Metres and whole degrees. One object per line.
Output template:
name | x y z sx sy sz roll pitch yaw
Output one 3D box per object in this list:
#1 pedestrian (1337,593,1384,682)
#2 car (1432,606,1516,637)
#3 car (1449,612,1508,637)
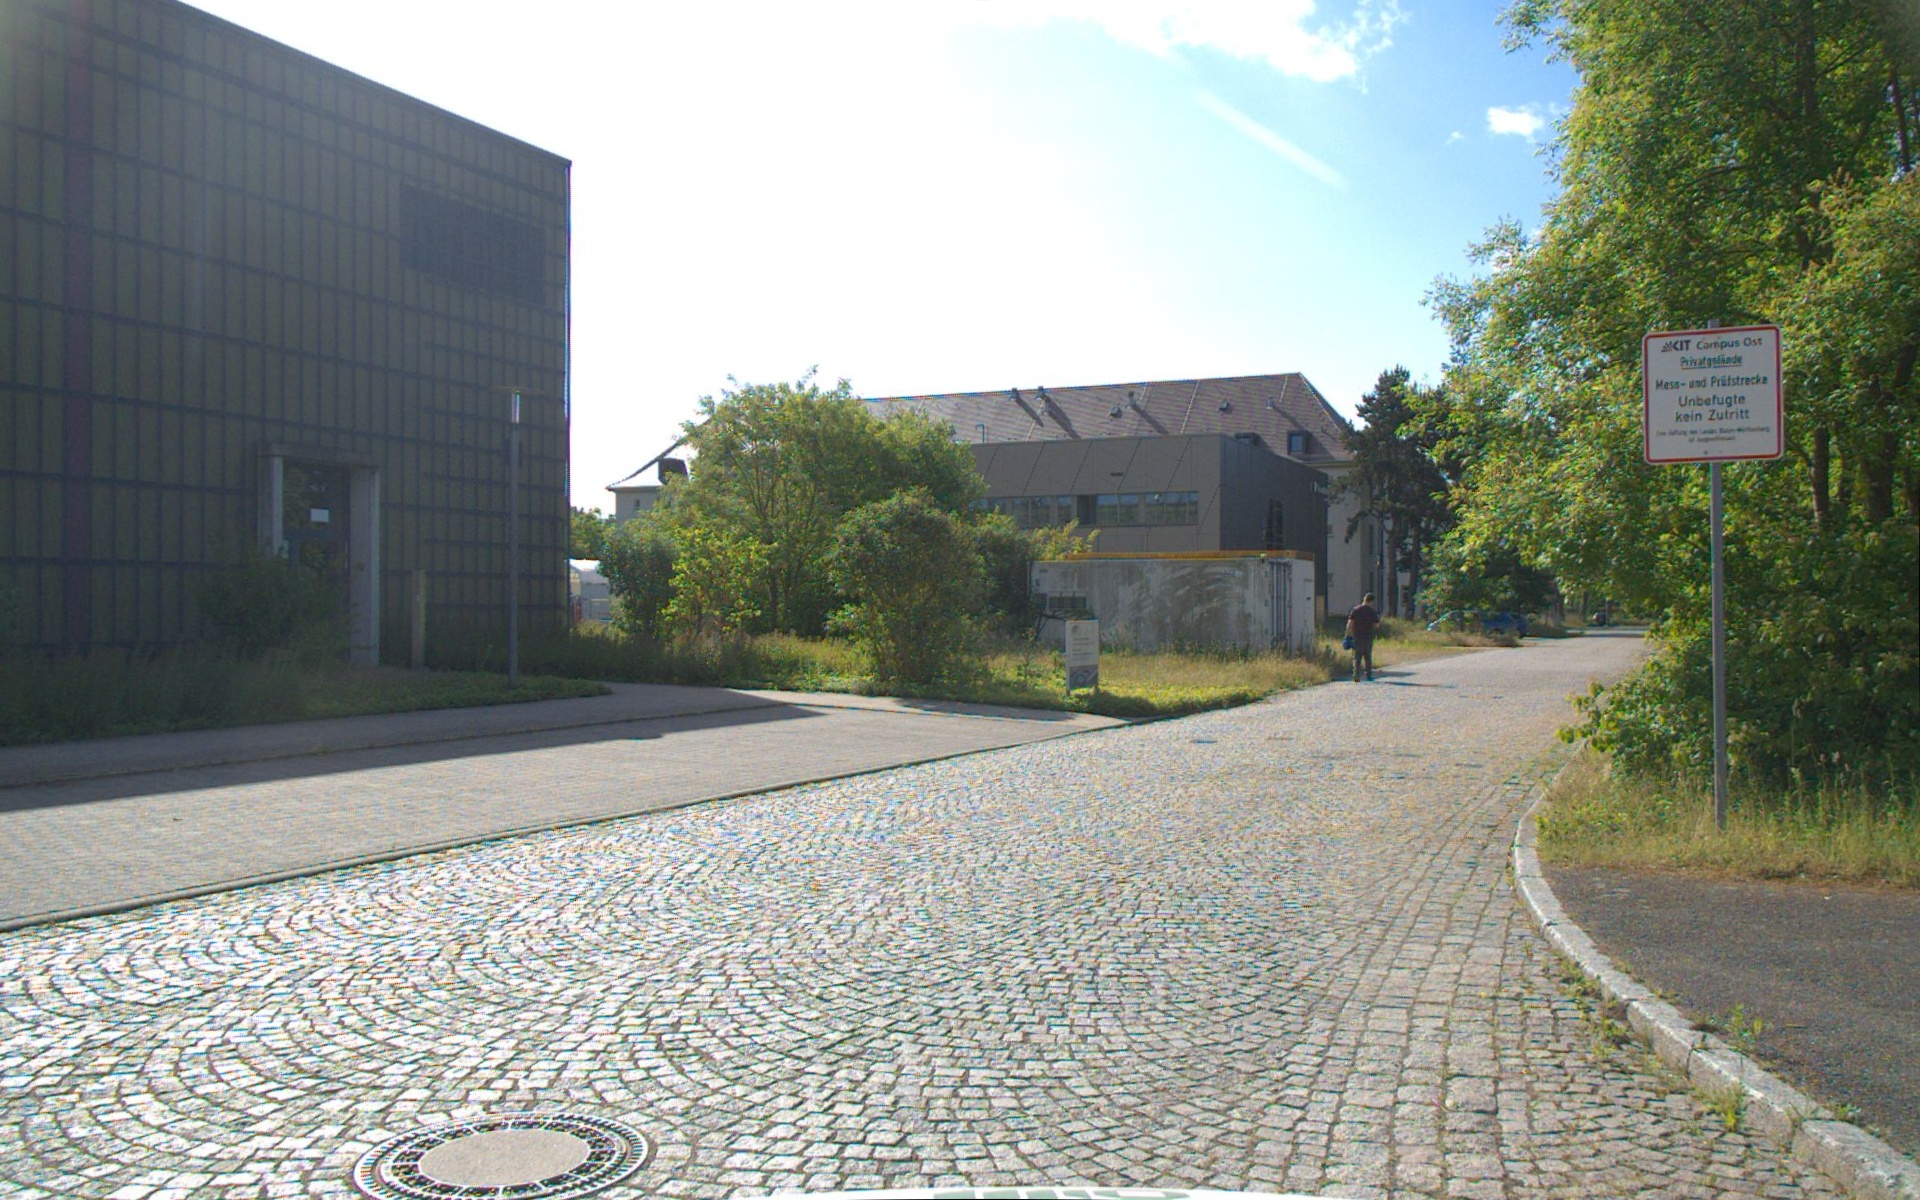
pedestrian | 8.316 0.765 34.328 0.779 1.812 1.068 1 0 22
car | 24.618 1.038 79.210 3.755 1.466 1.583 0 -1 22
car | 26.904 1.260 85.906 2.840 1.281 1.289 0 -1 15
